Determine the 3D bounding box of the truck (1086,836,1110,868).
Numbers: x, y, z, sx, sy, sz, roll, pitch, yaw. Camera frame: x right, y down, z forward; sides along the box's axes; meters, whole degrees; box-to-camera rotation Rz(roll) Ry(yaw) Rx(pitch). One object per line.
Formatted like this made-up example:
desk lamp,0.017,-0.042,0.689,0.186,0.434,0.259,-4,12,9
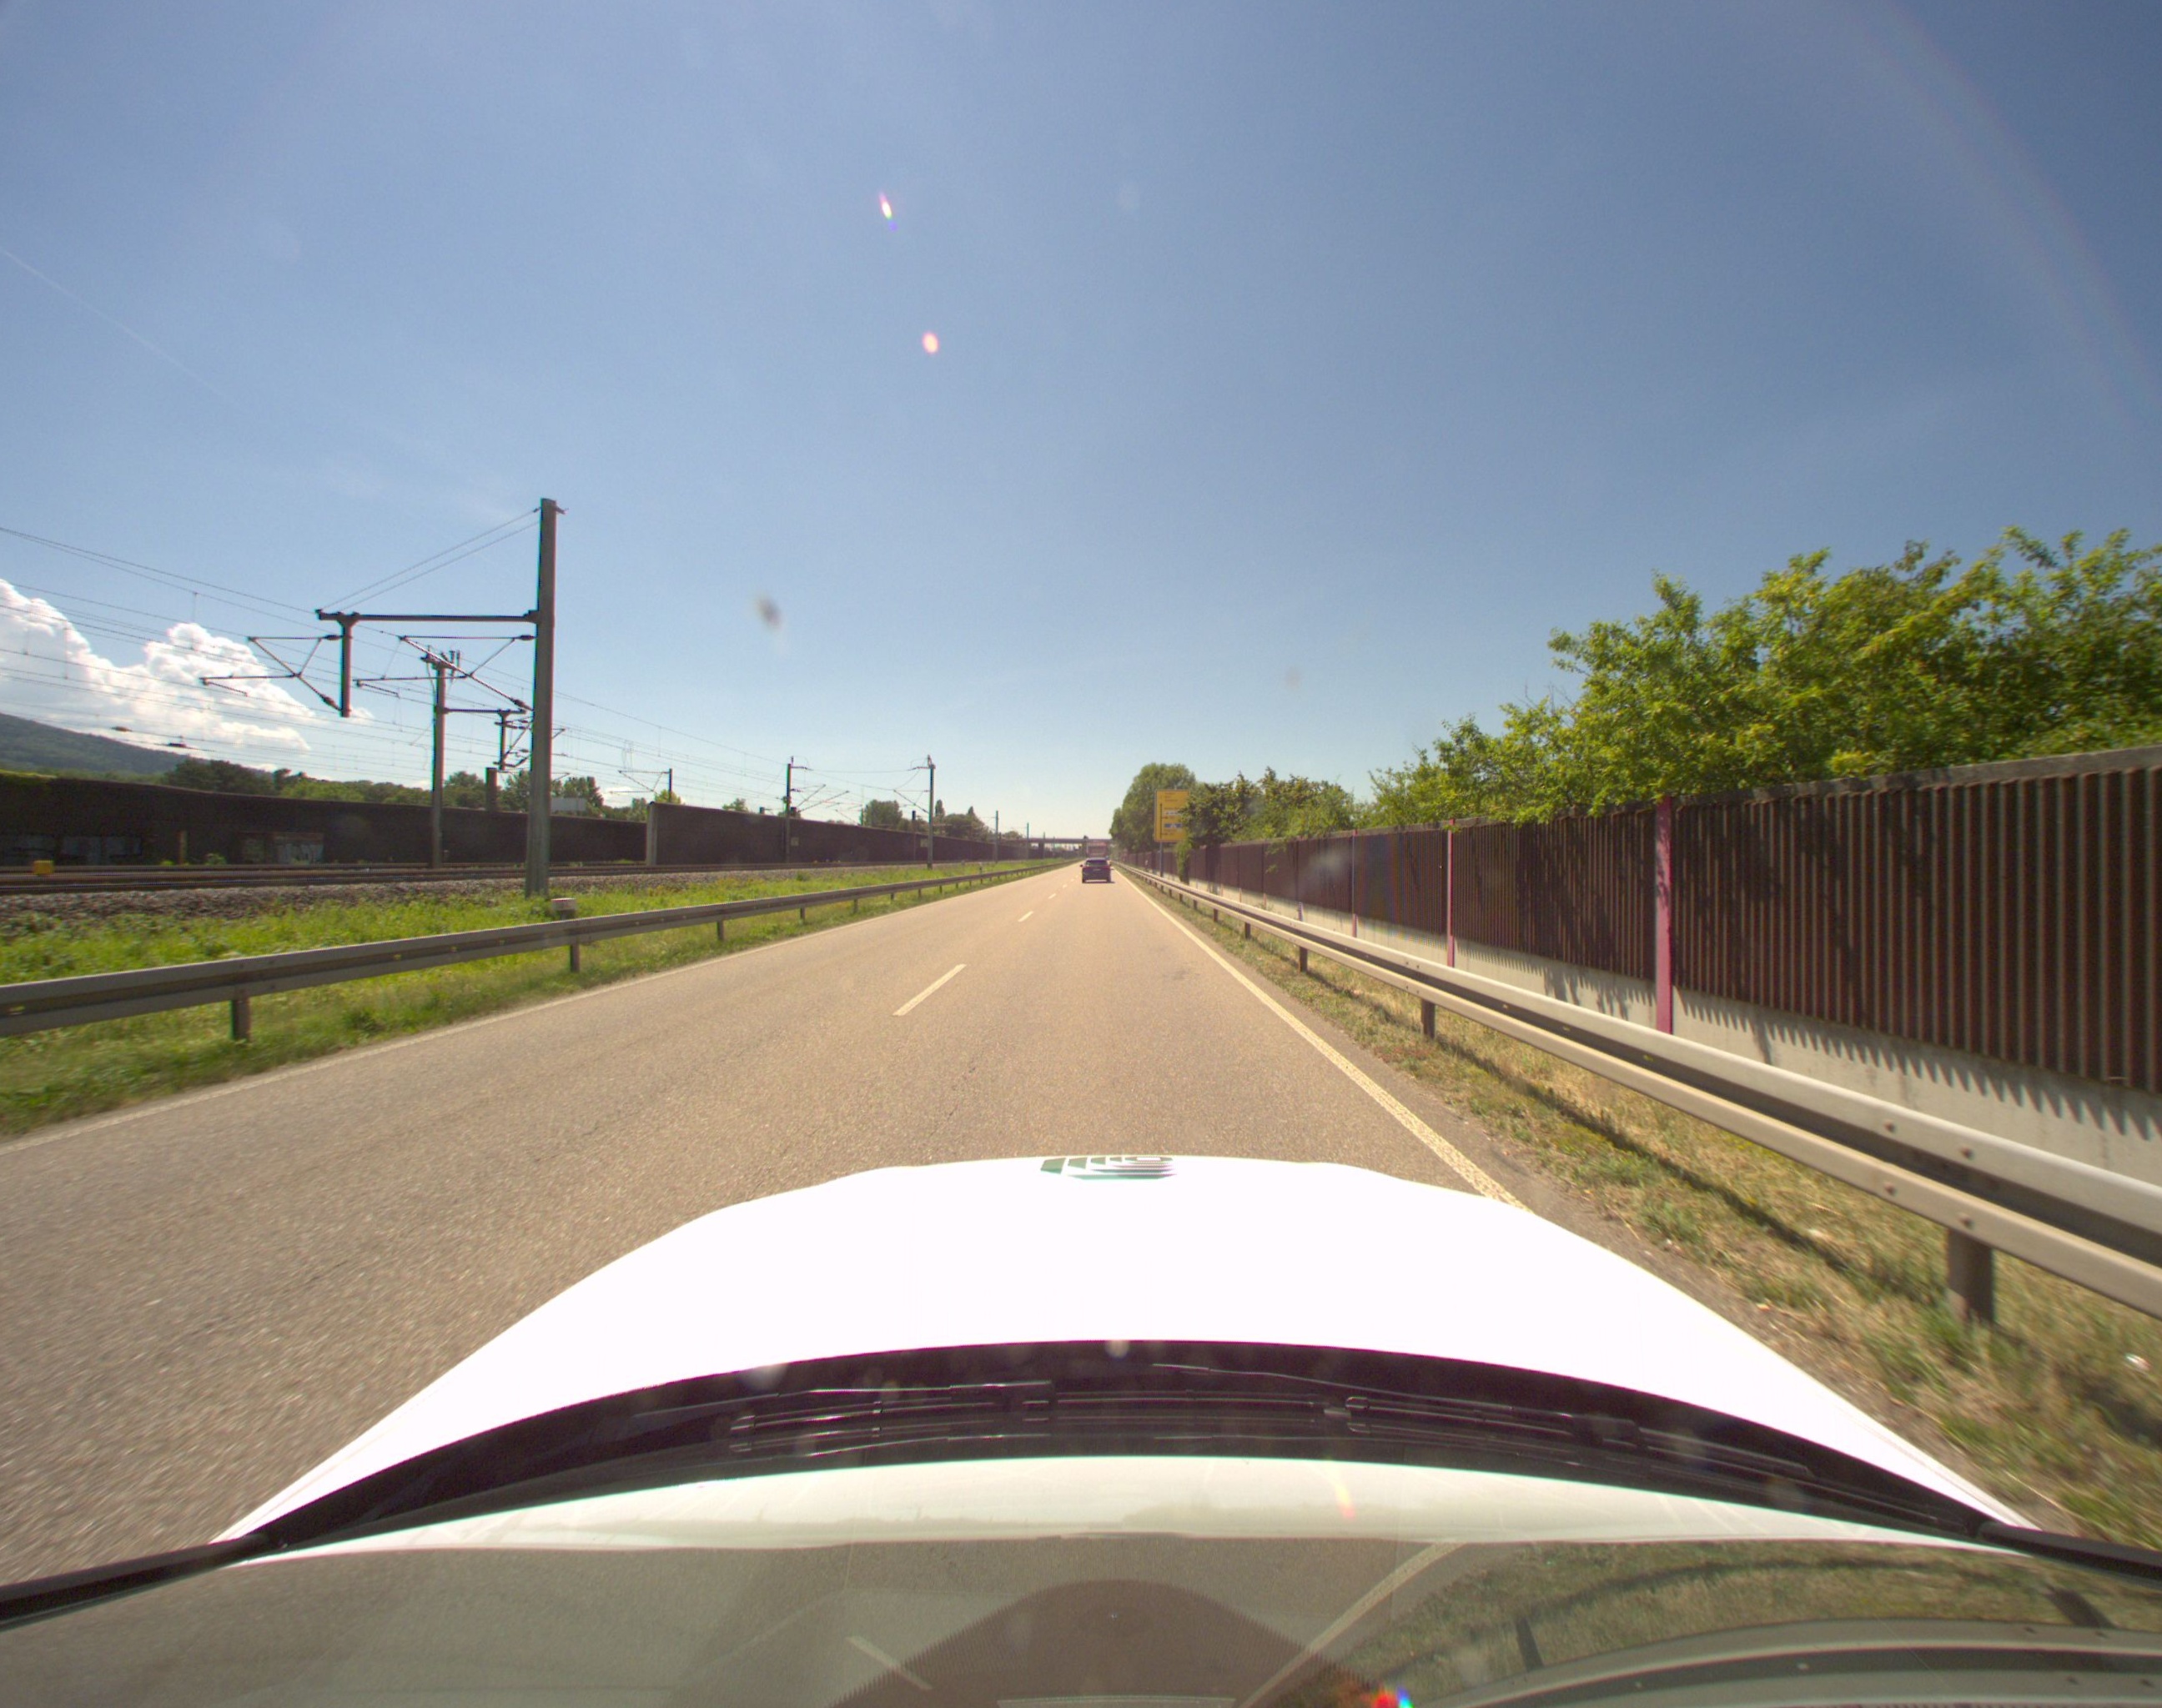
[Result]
truck,2.154,-0.154,104.633,2.824,3.821,11.885,0,0,1

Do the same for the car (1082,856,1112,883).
car,1.054,0.951,51.701,1.838,1.623,4.227,0,-1,2
